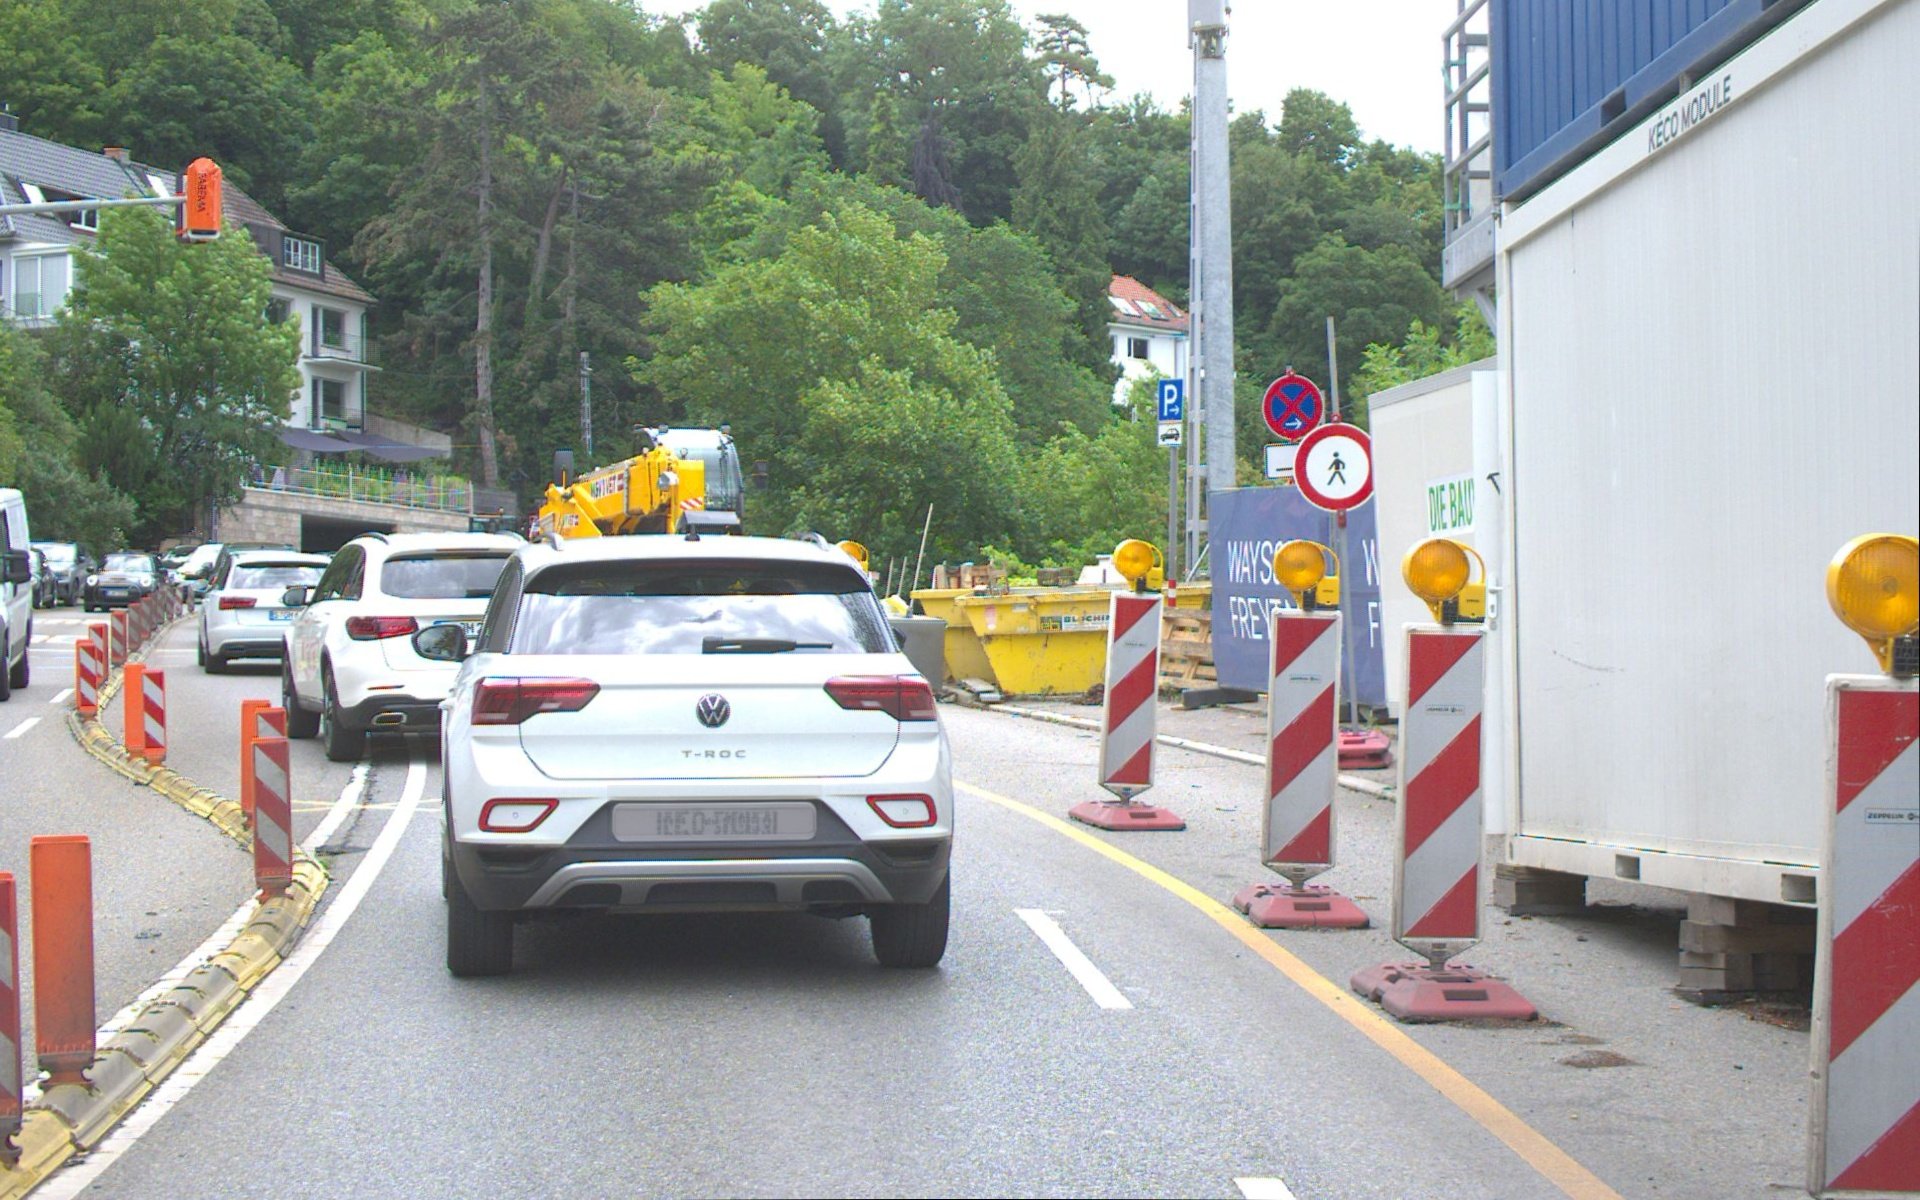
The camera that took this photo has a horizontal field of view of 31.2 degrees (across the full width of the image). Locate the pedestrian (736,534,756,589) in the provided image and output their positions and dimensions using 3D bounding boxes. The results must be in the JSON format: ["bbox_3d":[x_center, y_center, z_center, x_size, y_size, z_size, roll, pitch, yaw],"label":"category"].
[{"bbox_3d":[-7.537,-1.361,120.952,0.690,1.900,0.825,0,1,-2],"label":"pedestrian"}]

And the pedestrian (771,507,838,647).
[{"bbox_3d":[-2.012,-0.302,44.483,0.689,1.788,0.540,0,1,-25],"label":"pedestrian"}]

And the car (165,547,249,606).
[{"bbox_3d":[-21.030,-0.682,96.160,1.841,1.594,4.264,0,1,-6],"label":"car"}]

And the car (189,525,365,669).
[{"bbox_3d":[-8.416,-0.068,42.158,1.809,1.657,4.001,-1,1,-15],"label":"car"}]

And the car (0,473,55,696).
[{"bbox_3d":[-10.749,-0.170,35.828,2.066,2.180,4.964,-2,2,-10],"label":"car"}]

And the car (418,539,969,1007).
[{"bbox_3d":[-1.121,0.530,13.316,1.809,1.526,4.001,0,1,-7],"label":"car"}]

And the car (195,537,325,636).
[{"bbox_3d":[-11.199,-0.236,54.878,1.794,1.505,4.001,-1,1,-15],"label":"car"}]

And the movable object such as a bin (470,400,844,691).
[{"bbox_3d":[-3.753,-0.637,40.515,2.810,3.060,7.826,1,1,-17],"label":"movable object such as a bin"}]

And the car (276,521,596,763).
[{"bbox_3d":[-4.028,0.257,25.934,1.809,1.657,4.001,-1,1,-17],"label":"car"}]

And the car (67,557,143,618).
[{"bbox_3d":[-20.587,-0.324,82.857,1.671,1.425,3.588,-1,1,-13],"label":"car"}]

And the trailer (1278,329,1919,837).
[{"bbox_3d":[3.564,-0.137,20.154,2.106,2.541,5.120,-2,1,-9],"label":"trailer"}]

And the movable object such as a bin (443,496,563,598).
[{"bbox_3d":[-12.358,-1.439,93.265,2.212,2.653,4.944,1,1,4],"label":"movable object such as a bin"}]
